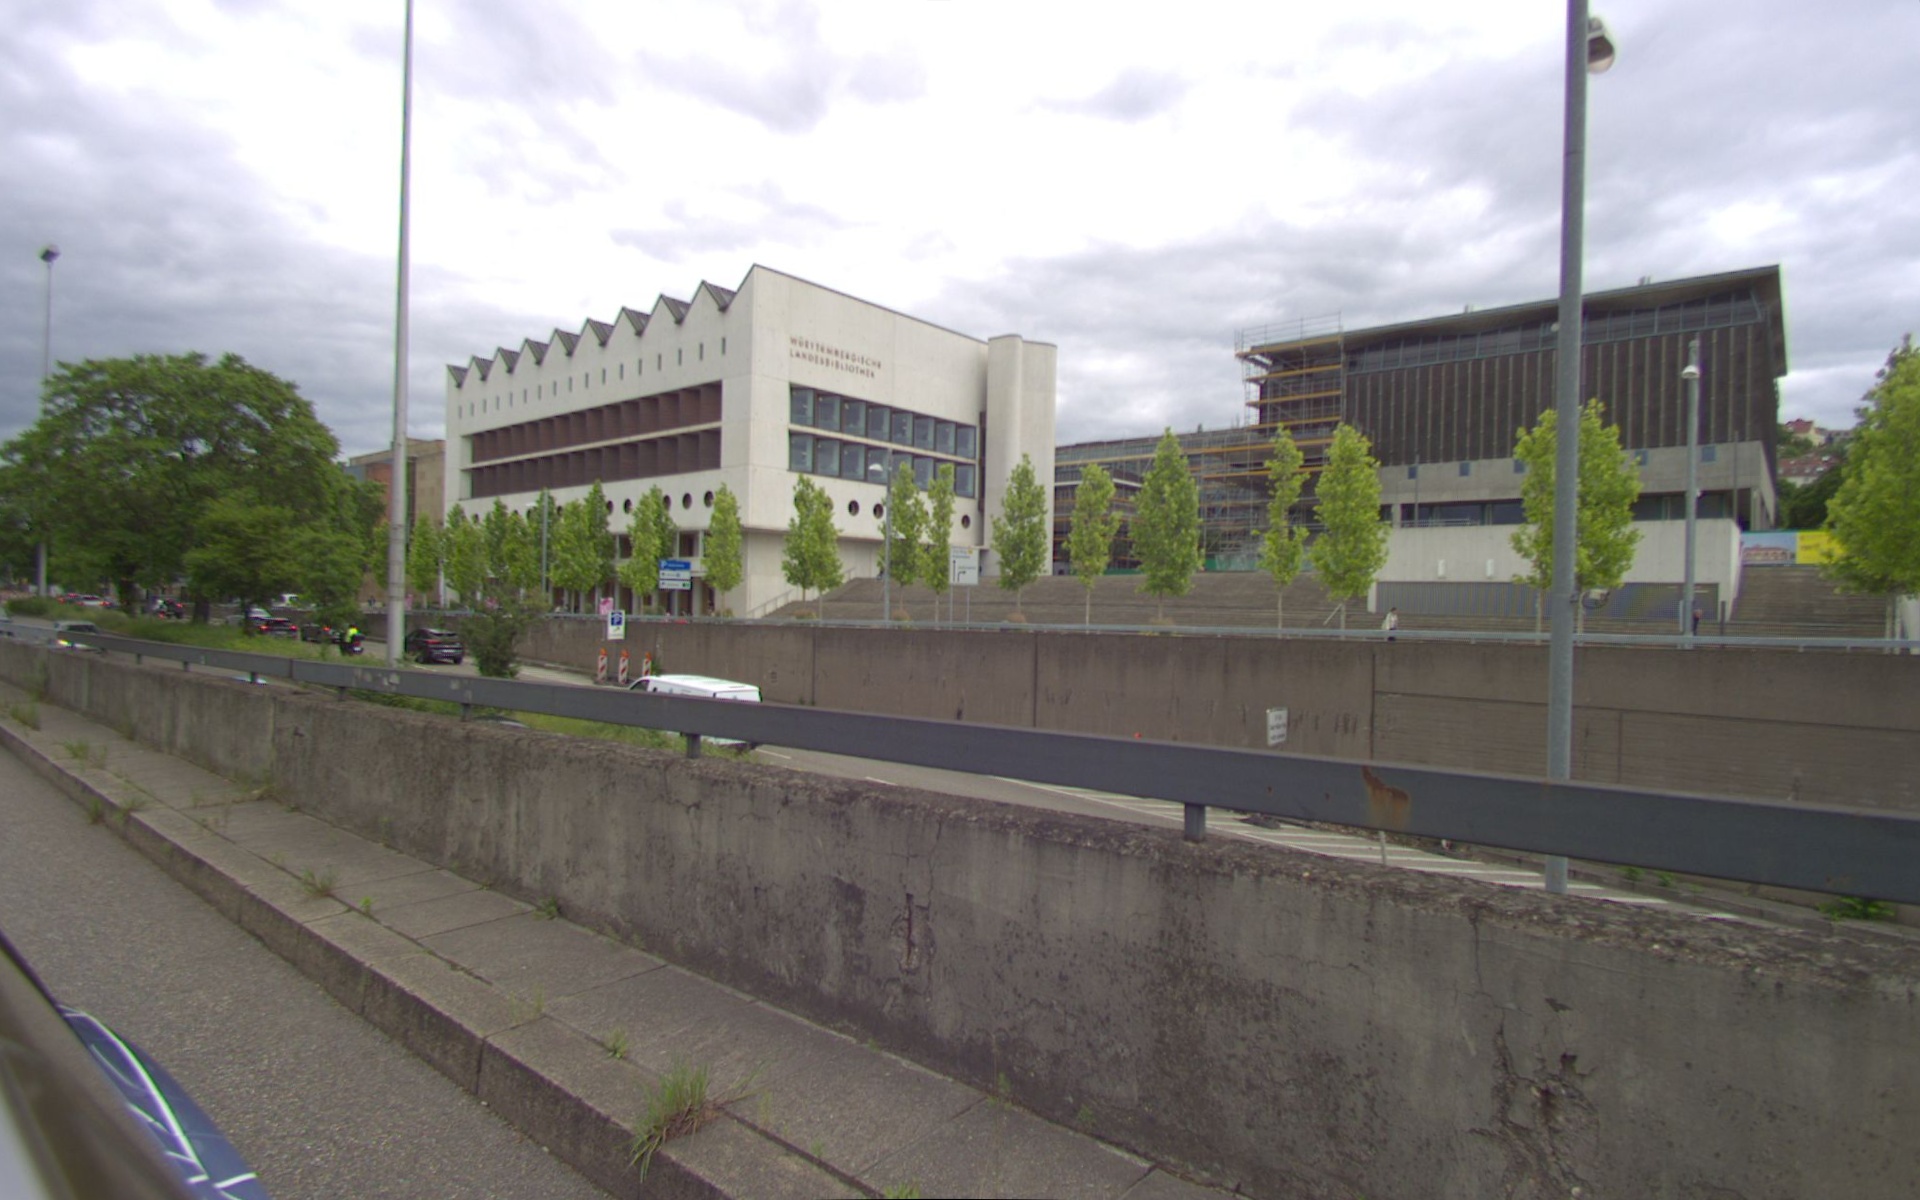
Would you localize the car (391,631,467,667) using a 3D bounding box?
[{"bbox_3d":[-25.040,2.282,47.678,4.003,1.338,1.787,4,0,40],"label":"car"}]

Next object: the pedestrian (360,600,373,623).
[{"bbox_3d":[-54.274,1.034,92.553,1.016,2.029,0.712,1,2,42],"label":"pedestrian"}]

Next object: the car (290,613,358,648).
[{"bbox_3d":[-35.845,1.722,57.012,4.387,1.624,1.851,4,0,39],"label":"car"}]

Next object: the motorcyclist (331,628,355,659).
[{"bbox_3d":[-28.480,2.022,46.738,0.718,1.362,0.662,3,-3,41],"label":"motorcyclist"}]

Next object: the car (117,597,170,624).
[{"bbox_3d":[-55.446,0.691,68.712,4.515,1.687,1.973,0,-3,41],"label":"car"}]

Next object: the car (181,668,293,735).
[{"bbox_3d":[-19.779,2.703,27.615,4.089,1.425,1.539,0,0,40],"label":"car"}]

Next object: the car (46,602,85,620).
[{"bbox_3d":[-78.296,0.934,88.574,3.998,1.409,1.973,0,-3,41],"label":"car"}]

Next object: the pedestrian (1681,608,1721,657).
[{"bbox_3d":[25.664,1.120,35.050,0.728,1.655,0.795,0,-2,-21],"label":"pedestrian"}]

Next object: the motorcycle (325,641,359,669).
[{"bbox_3d":[-28.520,2.522,46.717,2.050,1.106,0.678,3,-2,41],"label":"motorcycle"}]

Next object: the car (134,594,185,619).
[{"bbox_3d":[-62.355,0.519,78.786,4.514,1.657,2.133,2,-2,40],"label":"car"}]

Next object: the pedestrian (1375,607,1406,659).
[{"bbox_3d":[17.174,1.318,40.401,0.728,2.029,0.795,0,-2,-25],"label":"pedestrian"}]

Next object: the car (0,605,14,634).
[{"bbox_3d":[-49.921,1.001,51.748,4.089,1.425,1.764,0,0,40],"label":"car"}]

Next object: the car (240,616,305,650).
[{"bbox_3d":[-36.792,1.761,54.106,4.144,1.500,1.757,3,0,40],"label":"car"}]

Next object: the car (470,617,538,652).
[{"bbox_3d":[-25.706,1.923,57.010,3.998,1.776,1.973,0,-3,41],"label":"car"}]

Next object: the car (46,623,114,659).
[{"bbox_3d":[-38.709,1.781,44.485,4.089,1.425,1.636,0,0,40],"label":"car"}]

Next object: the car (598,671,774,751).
[{"bbox_3d":[-7.698,3.037,28.157,5.246,1.651,1.974,2,-5,40],"label":"car"}]

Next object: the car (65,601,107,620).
[{"bbox_3d":[-70.335,0.865,81.428,3.998,1.409,1.973,0,-3,41],"label":"car"}]

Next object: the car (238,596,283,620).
[{"bbox_3d":[-56.083,0.651,81.160,3.998,1.776,1.973,0,-3,41],"label":"car"}]
